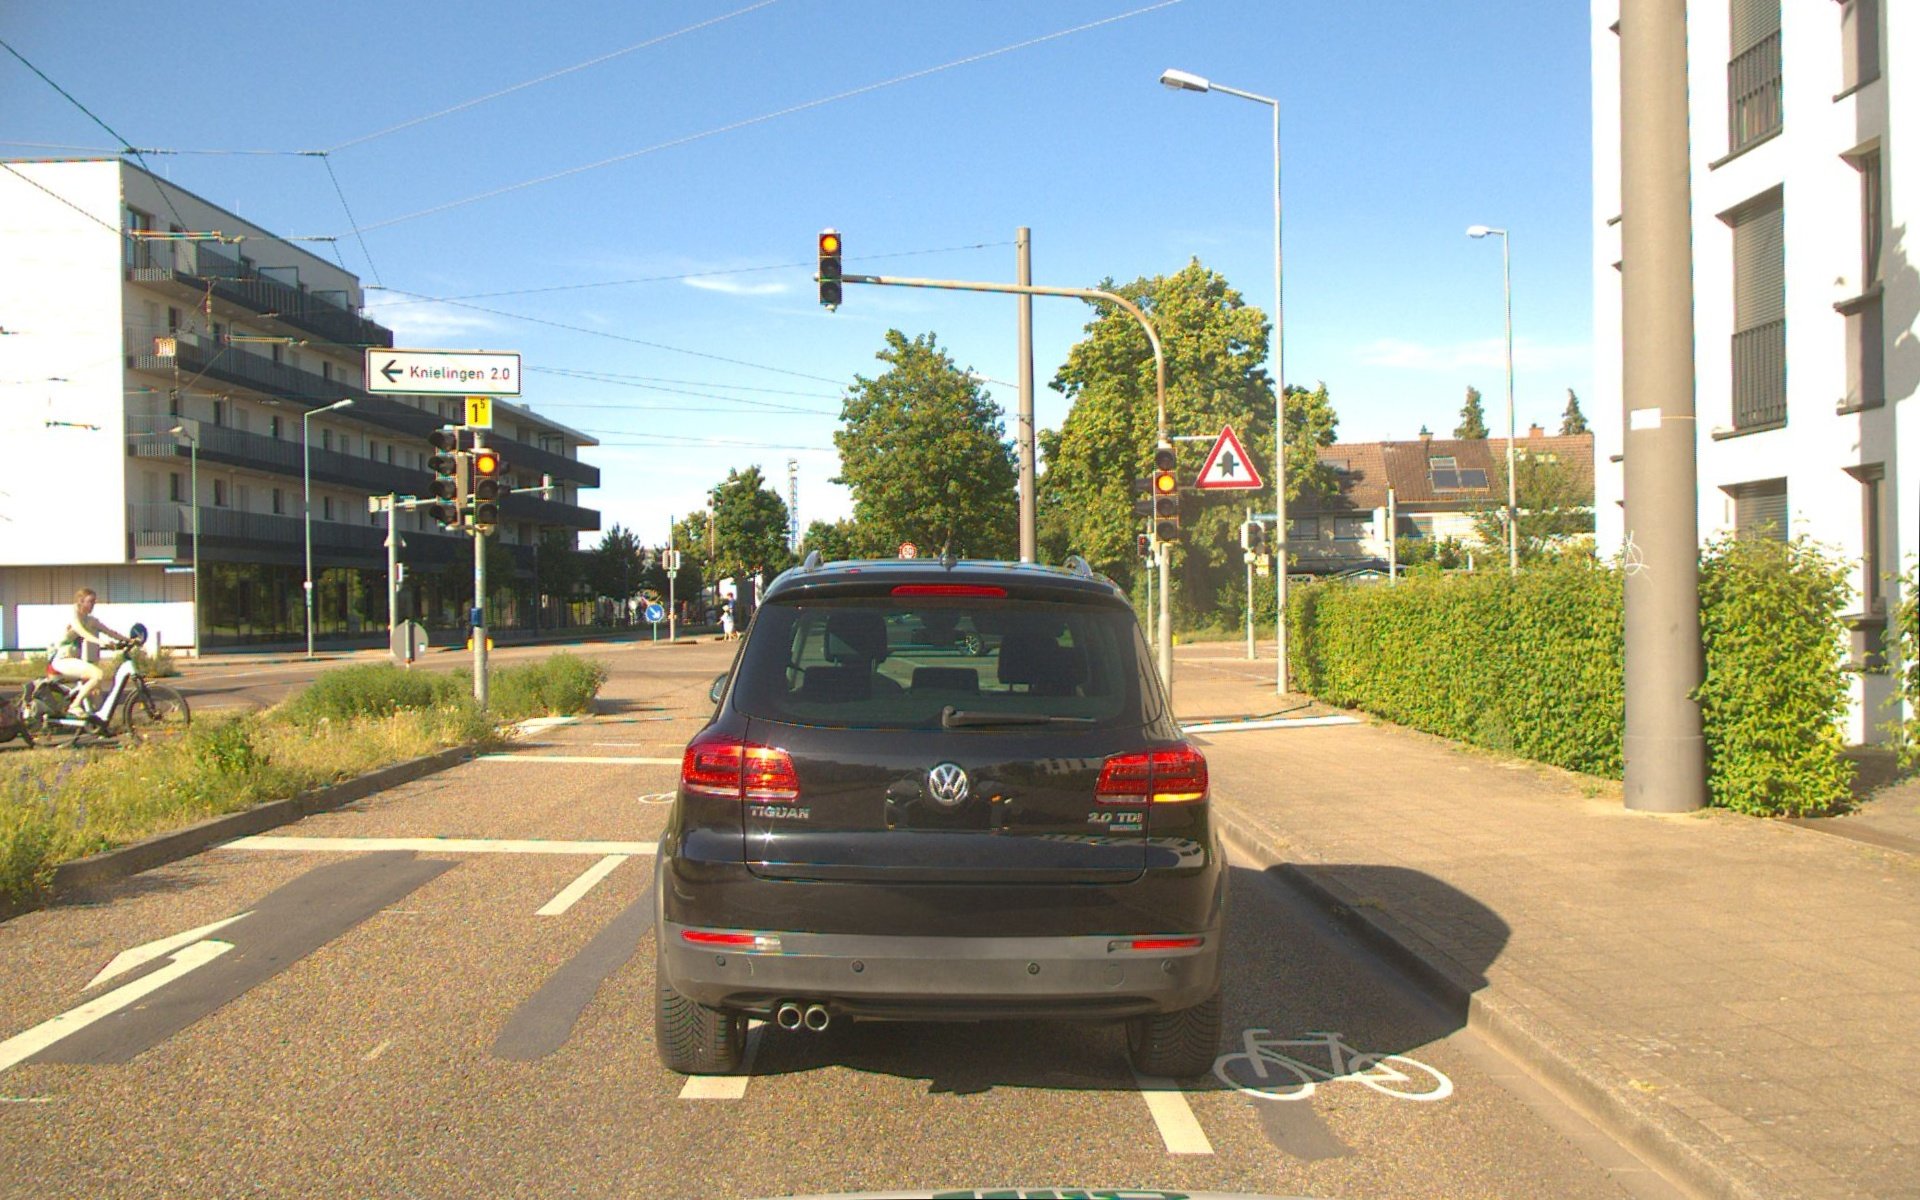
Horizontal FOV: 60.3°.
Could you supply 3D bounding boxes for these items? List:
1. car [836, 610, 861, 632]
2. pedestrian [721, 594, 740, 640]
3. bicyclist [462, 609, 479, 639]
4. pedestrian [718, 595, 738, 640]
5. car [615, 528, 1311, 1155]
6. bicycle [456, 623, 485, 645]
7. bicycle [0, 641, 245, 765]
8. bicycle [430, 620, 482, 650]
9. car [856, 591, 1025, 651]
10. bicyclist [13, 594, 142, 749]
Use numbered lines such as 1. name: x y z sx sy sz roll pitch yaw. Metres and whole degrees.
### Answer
1. car: -8.678 1.609 129.197 1.621 1.668 4.001 0 0 1
2. pedestrian: -8.286 0.607 59.756 0.590 1.668 0.529 0 0 4
3. bicyclist: -20.199 0.992 68.287 0.464 1.245 0.713 0 0 3
4. pedestrian: -8.311 0.612 59.186 0.590 1.592 0.529 0 0 4
5. car: -0.053 0.644 6.455 1.867 1.671 3.998 0 0 -2
6. bicycle: -20.194 1.393 68.294 0.485 0.863 2.079 0 0 3
7. bicycle: -9.896 1.092 18.117 3.609 1.195 0.999 2 0 -2
8. bicycle: -19.244 1.323 63.231 0.947 1.104 1.834 0 0 23
9. car: -0.481 0.546 44.706 4.403 1.530 2.001 0 0 3
10. bicyclist: -9.655 0.762 18.136 0.891 1.658 0.975 0 0 -2
